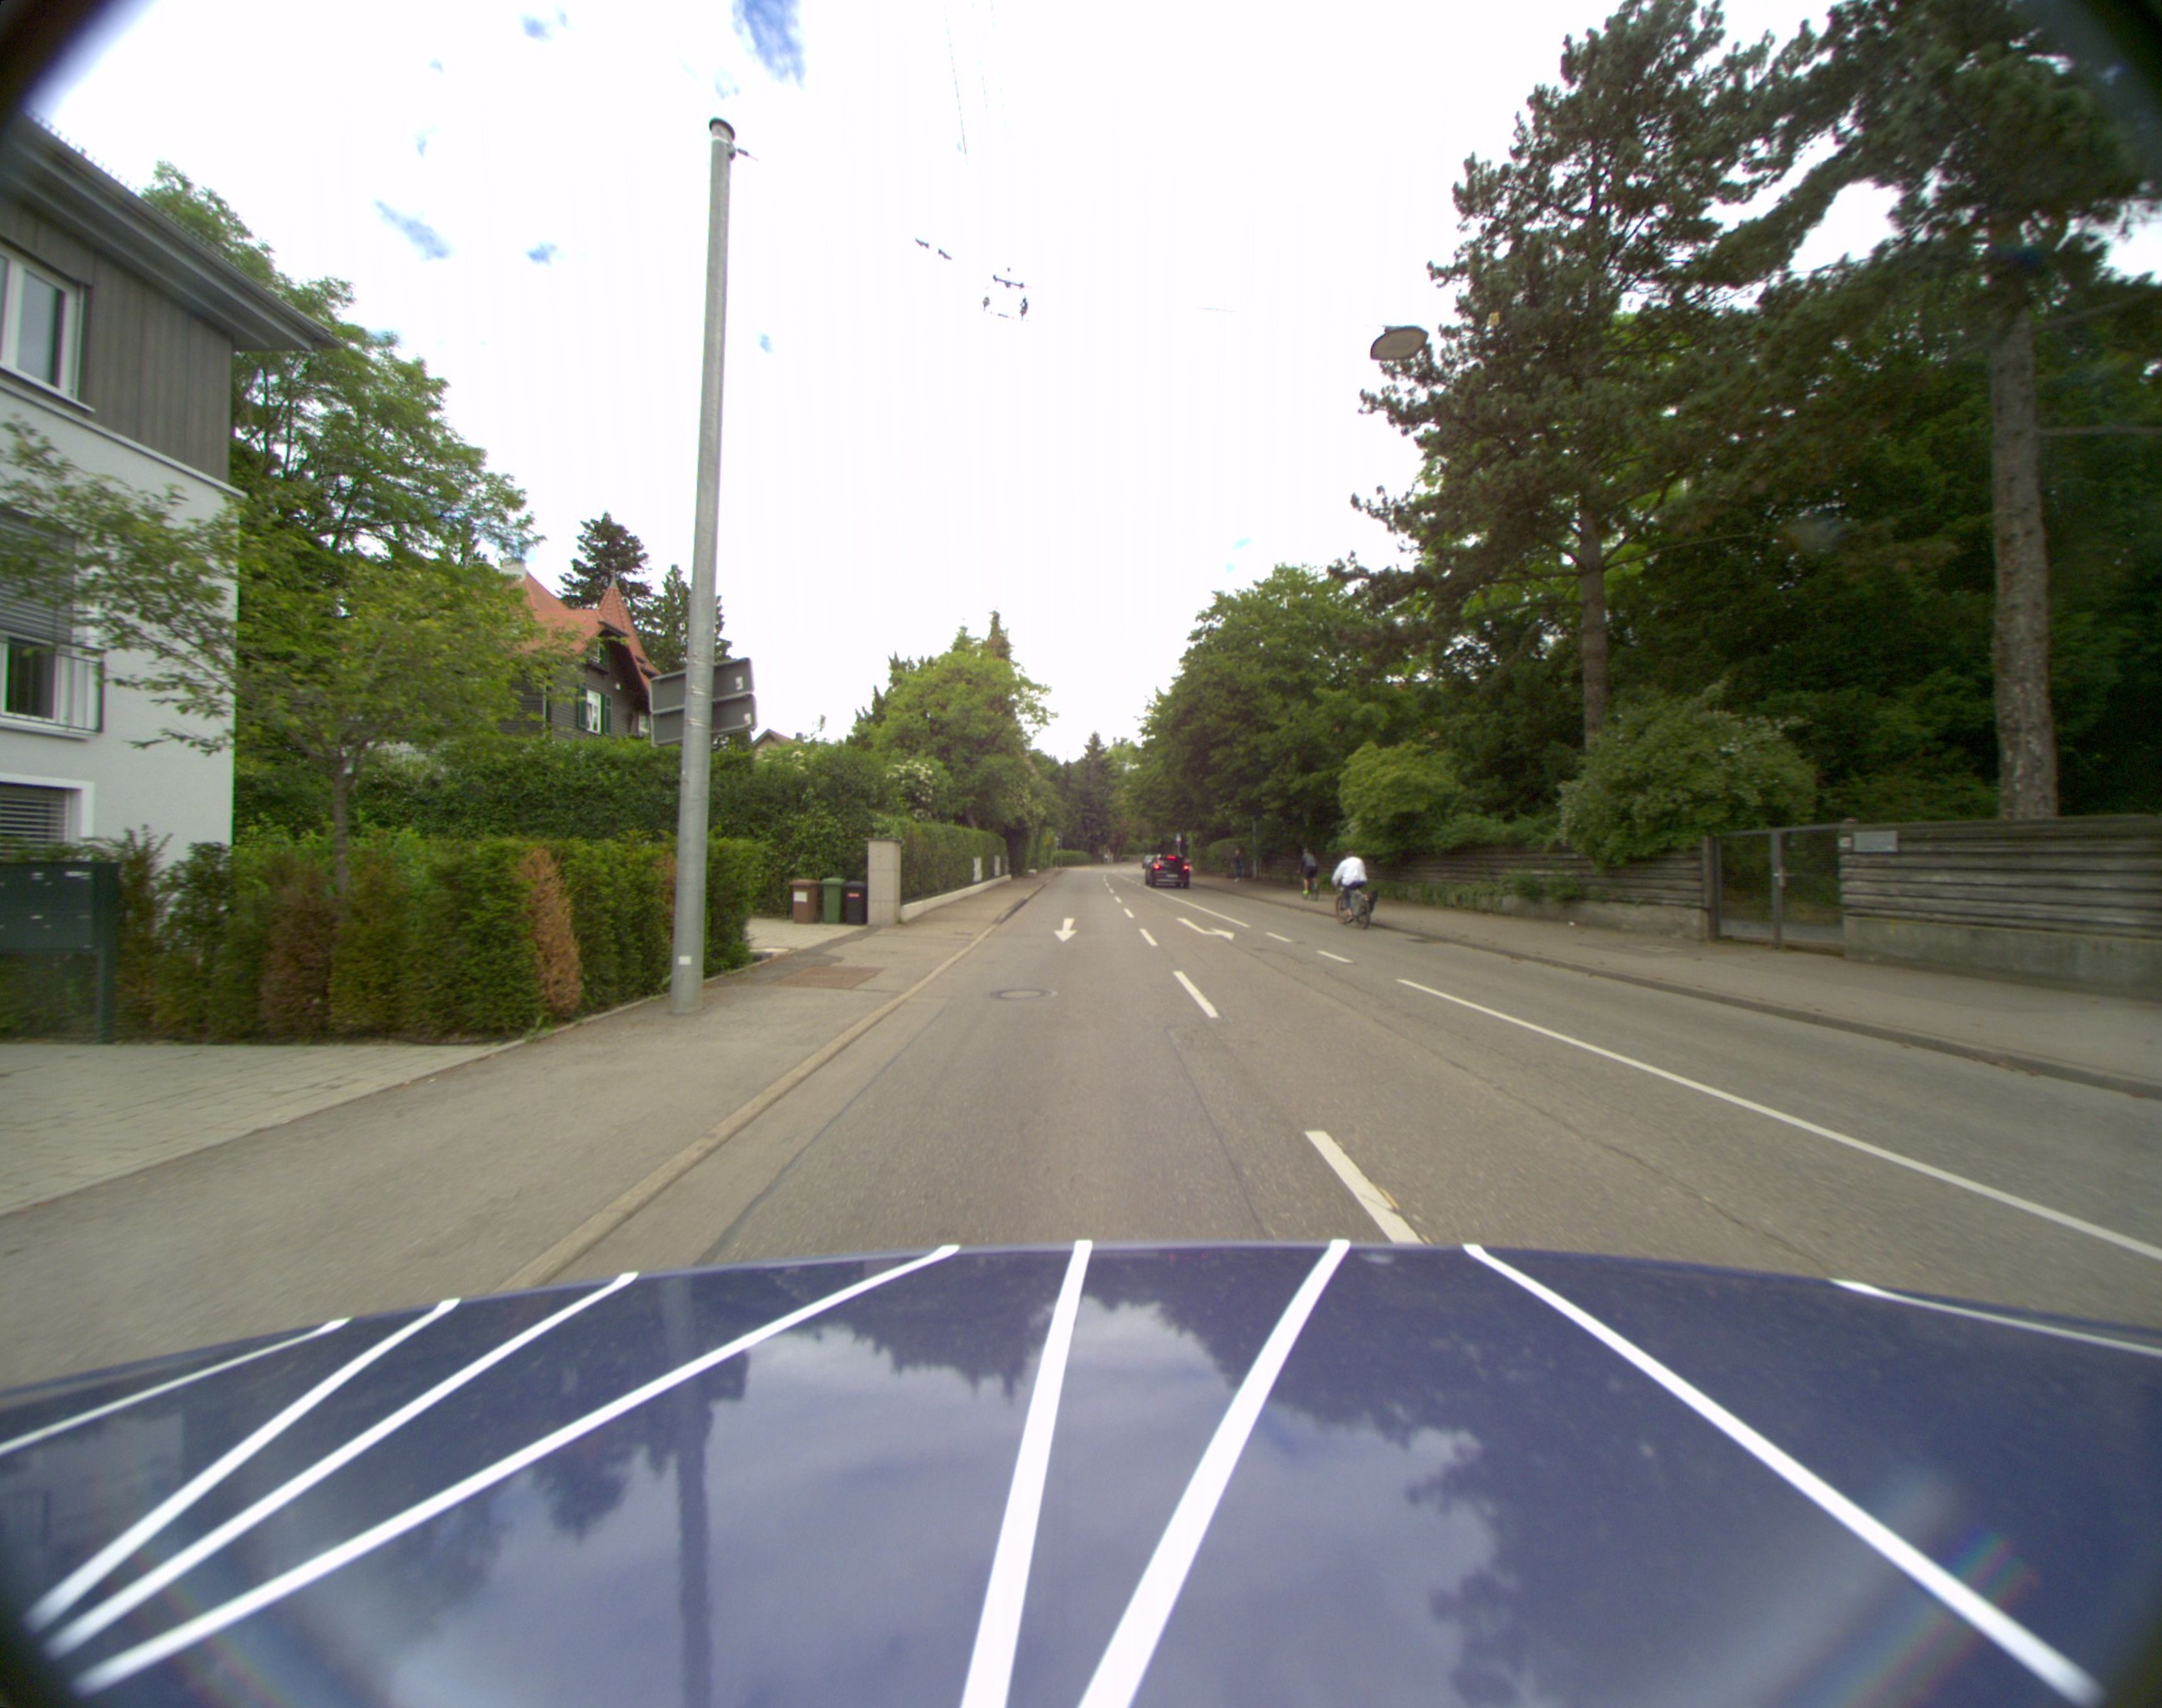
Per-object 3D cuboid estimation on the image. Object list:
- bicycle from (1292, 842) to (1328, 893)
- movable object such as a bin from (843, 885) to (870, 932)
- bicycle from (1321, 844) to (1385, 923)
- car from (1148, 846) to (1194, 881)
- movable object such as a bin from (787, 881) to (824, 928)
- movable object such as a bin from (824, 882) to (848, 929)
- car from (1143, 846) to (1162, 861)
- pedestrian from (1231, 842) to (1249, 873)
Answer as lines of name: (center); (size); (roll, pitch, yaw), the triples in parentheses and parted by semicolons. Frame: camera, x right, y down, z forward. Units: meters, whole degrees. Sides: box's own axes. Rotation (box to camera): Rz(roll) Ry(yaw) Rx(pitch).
bicycle: (7.725, 0.434, 25.726); (0.563, 1.667, 1.980); (-1, 1, -1)
movable object such as a bin: (-4.710, 1.130, 15.967); (0.466, 0.932, 0.604); (-1, 0, -10)
bicycle: (6.254, 0.645, 17.604); (0.760, 1.734, 1.871); (1, 1, -1)
car: (4.448, 0.418, 38.129); (1.836, 1.621, 4.282); (1, 1, 1)
movable object such as a bin: (-5.725, 1.049, 15.824); (0.466, 0.932, 0.605); (2, 0, 10)
movable object such as a bin: (-5.209, 1.083, 16.137); (0.467, 0.932, 0.604); (-1, 0, -17)
car: (7.475, -0.078, 79.330); (1.723, 1.463, 3.533); (1, 1, 9)
pedestrian: (8.811, 0.187, 42.154); (0.631, 1.652, 0.918); (-1, 2, -13)
